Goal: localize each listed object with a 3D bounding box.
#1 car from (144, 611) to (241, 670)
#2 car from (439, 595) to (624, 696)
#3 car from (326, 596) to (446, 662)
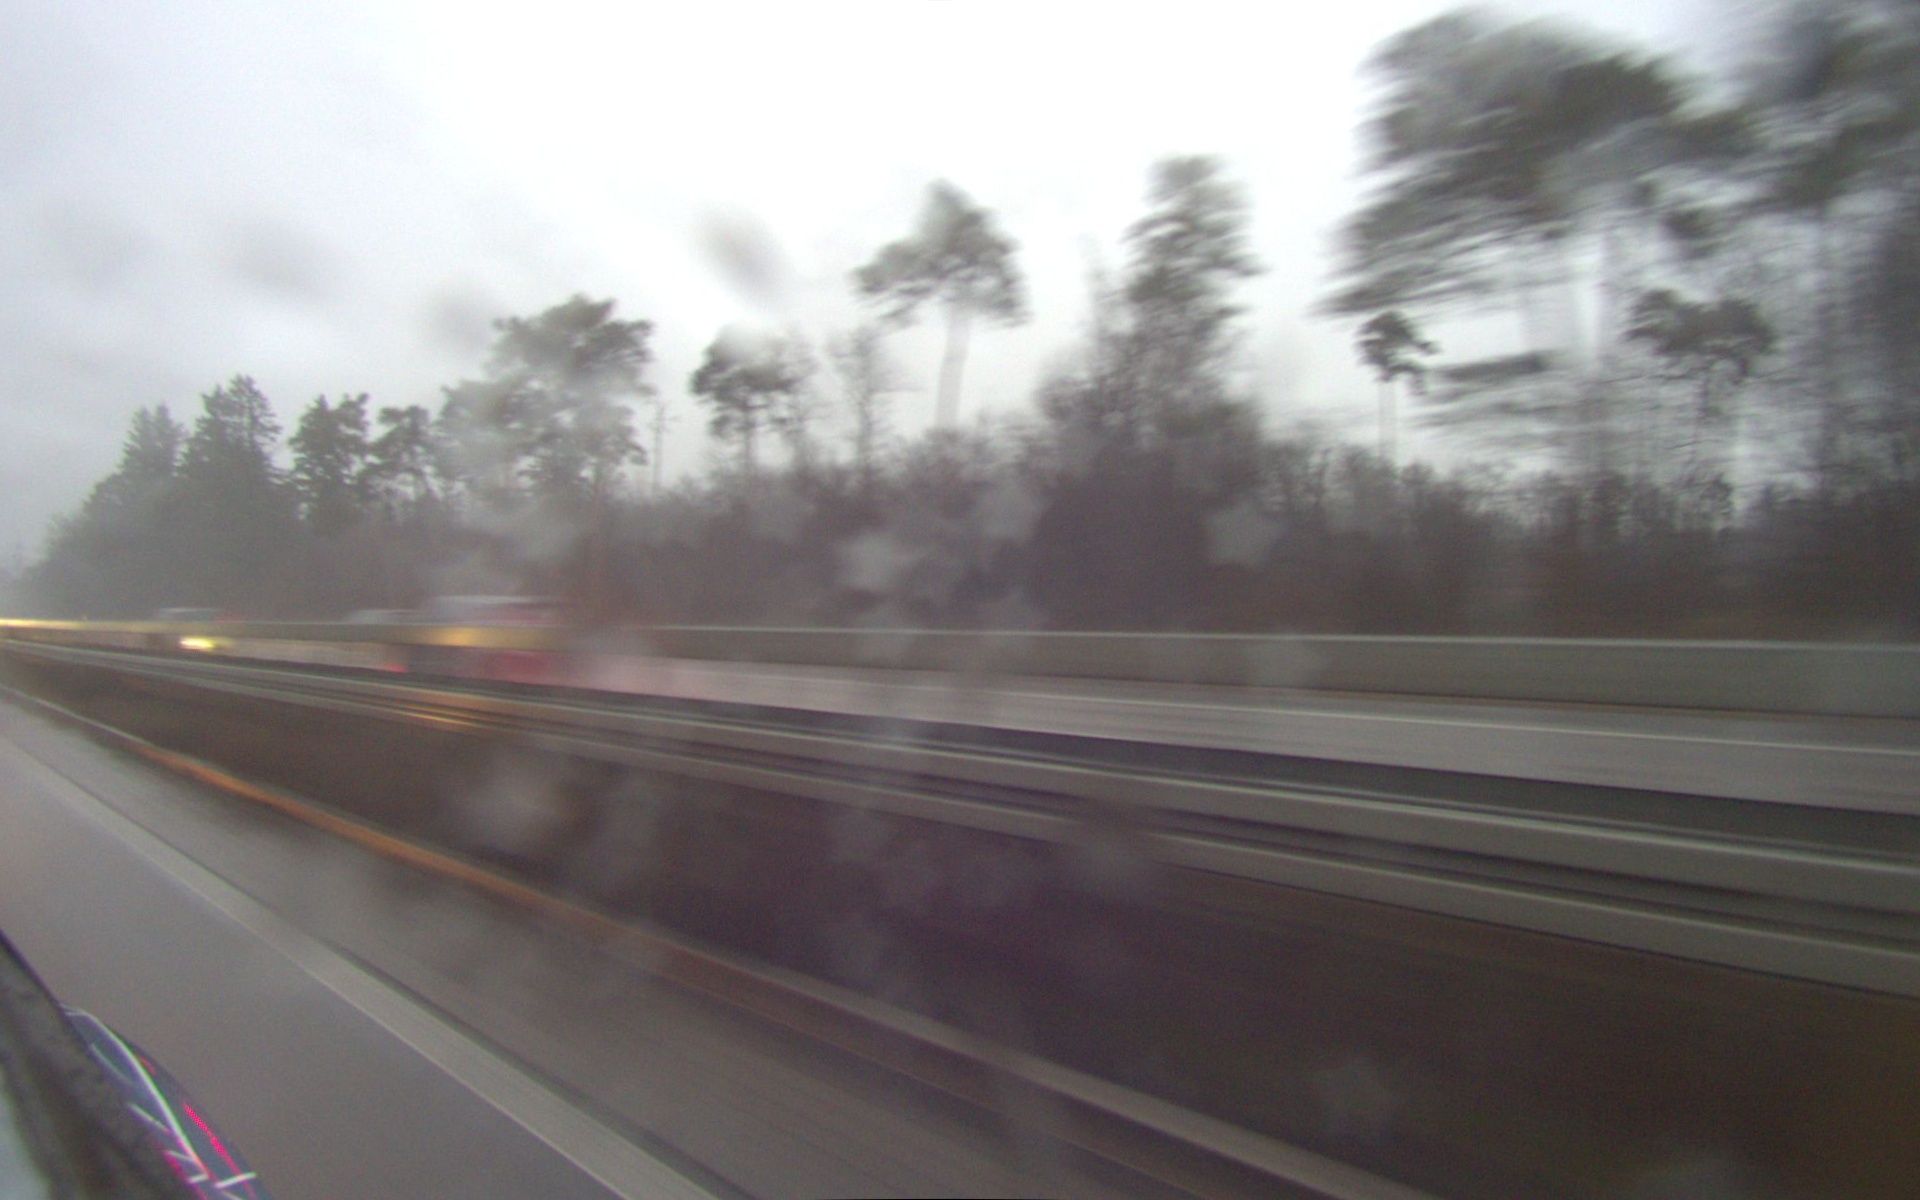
[{"bbox_3d":[-22.710,1.164,29.897,3.513,1.619,1.704,-1,-1,43],"label":"car"},{"bbox_3d":[-7.410,0.728,17.347,3.773,1.540,1.414,-1,-1,41],"label":"car"},{"bbox_3d":[-17.111,0.821,30.096,3.999,1.820,1.962,-1,-1,42],"label":"car"}]
